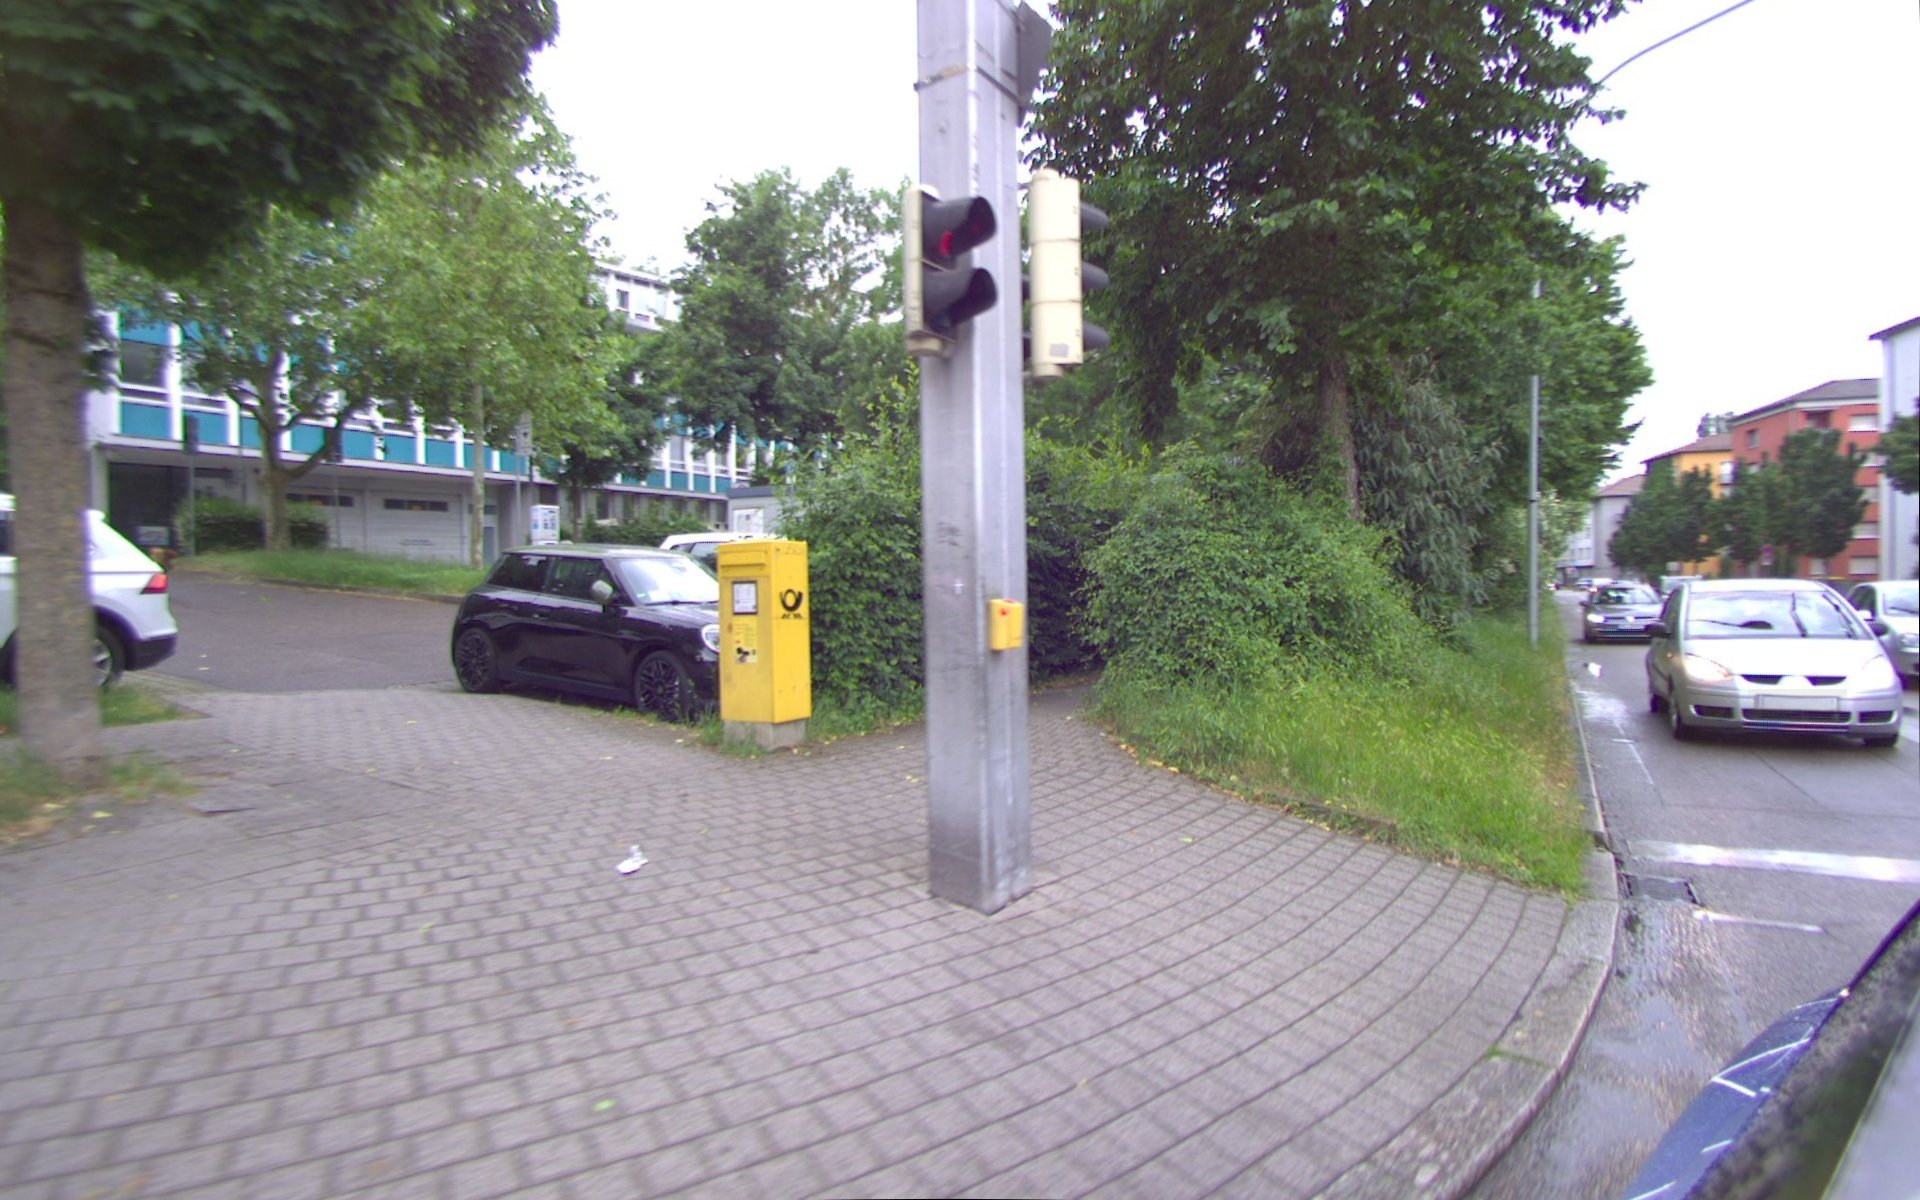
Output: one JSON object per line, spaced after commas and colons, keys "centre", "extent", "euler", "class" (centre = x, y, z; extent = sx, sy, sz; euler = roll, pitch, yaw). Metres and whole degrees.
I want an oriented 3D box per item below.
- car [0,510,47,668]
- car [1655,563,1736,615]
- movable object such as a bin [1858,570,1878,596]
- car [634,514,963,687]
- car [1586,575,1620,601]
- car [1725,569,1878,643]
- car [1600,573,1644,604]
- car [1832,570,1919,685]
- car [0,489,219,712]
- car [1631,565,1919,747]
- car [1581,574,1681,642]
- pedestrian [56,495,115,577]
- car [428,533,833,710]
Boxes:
{"centre": [-10.587, -0.109, 8.416], "extent": [1.621, 1.500, 4.174], "euler": [3, 3, 26], "class": "car"}
{"centre": [28.547, -0.448, 39.421], "extent": [1.974, 1.729, 4.533], "euler": [-6, -1, 30], "class": "car"}
{"centre": [54.118, -1.016, 60.328], "extent": [0.803, 1.519, 0.786], "euler": [0, 2, -41], "class": "movable object such as a bin"}
{"centre": [-1.936, -0.067, 11.730], "extent": [3.677, 1.717, 1.617], "euler": [2, 2, 34], "class": "car"}
{"centre": [50.949, -0.956, 80.248], "extent": [1.974, 1.729, 4.533], "euler": [-6, -1, 30], "class": "car"}
{"centre": [20.092, 0.089, 24.388], "extent": [1.974, 1.459, 4.533], "euler": [-6, -1, 30], "class": "car"}
{"centre": [42.835, -0.772, 65.539], "extent": [1.974, 1.729, 4.533], "euler": [-6, -1, 30], "class": "car"}
{"centre": [14.029, 0.316, 14.475], "extent": [1.674, 1.442, 3.994], "euler": [0, 2, 31], "class": "car"}
{"centre": [-8.046, -0.023, 7.238], "extent": [1.621, 1.641, 4.174], "euler": [3, 3, 26], "class": "car"}
{"centre": [8.255, 0.458, 10.492], "extent": [1.671, 1.524, 3.803], "euler": [-2, 0, 27], "class": "car"}
{"centre": [16.847, 0.176, 25.591], "extent": [1.672, 1.524, 4.457], "euler": [-3, -1, 29], "class": "car"}
{"centre": [-18.963, -1.390, 21.949], "extent": [0.669, 1.723, 0.713], "euler": [2, 4, 26], "class": "pedestrian"}
{"centre": [-3.150, 0.092, 9.530], "extent": [3.671, 1.382, 1.620], "euler": [2, 2, 30], "class": "car"}
